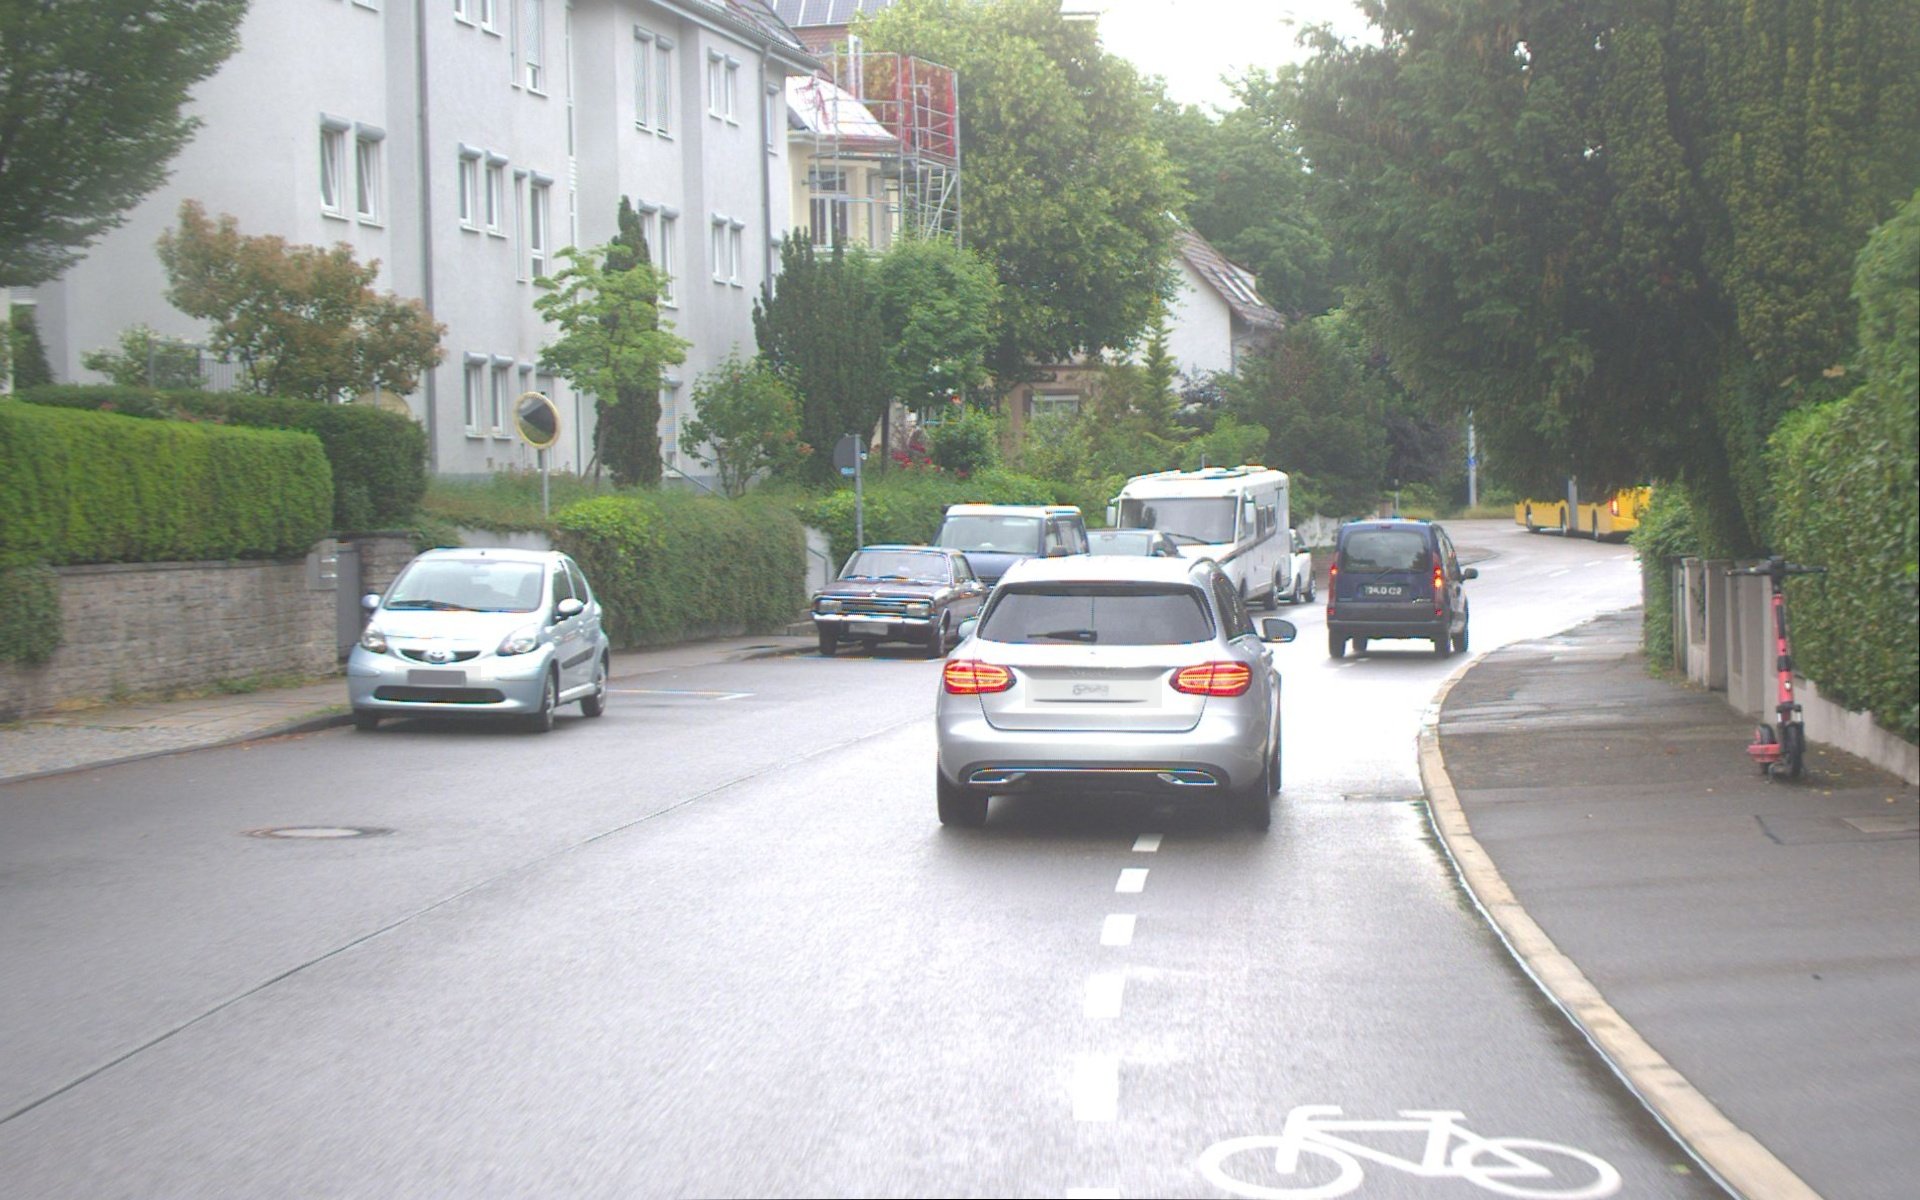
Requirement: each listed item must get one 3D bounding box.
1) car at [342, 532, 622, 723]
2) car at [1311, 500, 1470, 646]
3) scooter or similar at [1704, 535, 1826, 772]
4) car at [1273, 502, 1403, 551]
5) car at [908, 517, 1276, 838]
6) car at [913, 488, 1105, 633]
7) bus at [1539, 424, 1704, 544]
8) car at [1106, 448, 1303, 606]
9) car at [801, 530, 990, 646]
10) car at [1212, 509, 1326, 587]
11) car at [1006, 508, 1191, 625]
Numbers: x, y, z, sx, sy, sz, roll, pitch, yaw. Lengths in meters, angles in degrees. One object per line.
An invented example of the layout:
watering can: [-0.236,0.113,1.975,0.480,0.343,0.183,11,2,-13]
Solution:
car: [-3.908,0.179,28.601,1.605,1.481,3.487,1,1,4]
car: [5.944,-0.389,47.141,1.844,1.897,3.998,1,1,12]
scooter or similar: [4.619,0.285,19.785,0.449,1.303,1.481,-2,1,5]
car: [11.792,-2.296,107.091,3.988,1.415,1.887,1,3,7]
car: [0.838,0.337,19.249,1.816,1.551,4.000,1,2,5]
car: [0.795,-0.608,51.497,1.830,2.049,5.007,1,1,13]
bus: [21.471,-3.873,112.283,2.928,3.638,10.171,0,4,-3]
car: [4.692,-1.461,64.773,2.392,2.762,6.527,1,3,16]
car: [-0.810,-0.203,45.974,1.644,1.412,4.611,1,2,10]
car: [6.336,-1.082,70.210,1.714,1.442,3.252,1,4,16]
car: [2.356,-0.599,57.254,1.995,1.682,4.673,1,4,16]
